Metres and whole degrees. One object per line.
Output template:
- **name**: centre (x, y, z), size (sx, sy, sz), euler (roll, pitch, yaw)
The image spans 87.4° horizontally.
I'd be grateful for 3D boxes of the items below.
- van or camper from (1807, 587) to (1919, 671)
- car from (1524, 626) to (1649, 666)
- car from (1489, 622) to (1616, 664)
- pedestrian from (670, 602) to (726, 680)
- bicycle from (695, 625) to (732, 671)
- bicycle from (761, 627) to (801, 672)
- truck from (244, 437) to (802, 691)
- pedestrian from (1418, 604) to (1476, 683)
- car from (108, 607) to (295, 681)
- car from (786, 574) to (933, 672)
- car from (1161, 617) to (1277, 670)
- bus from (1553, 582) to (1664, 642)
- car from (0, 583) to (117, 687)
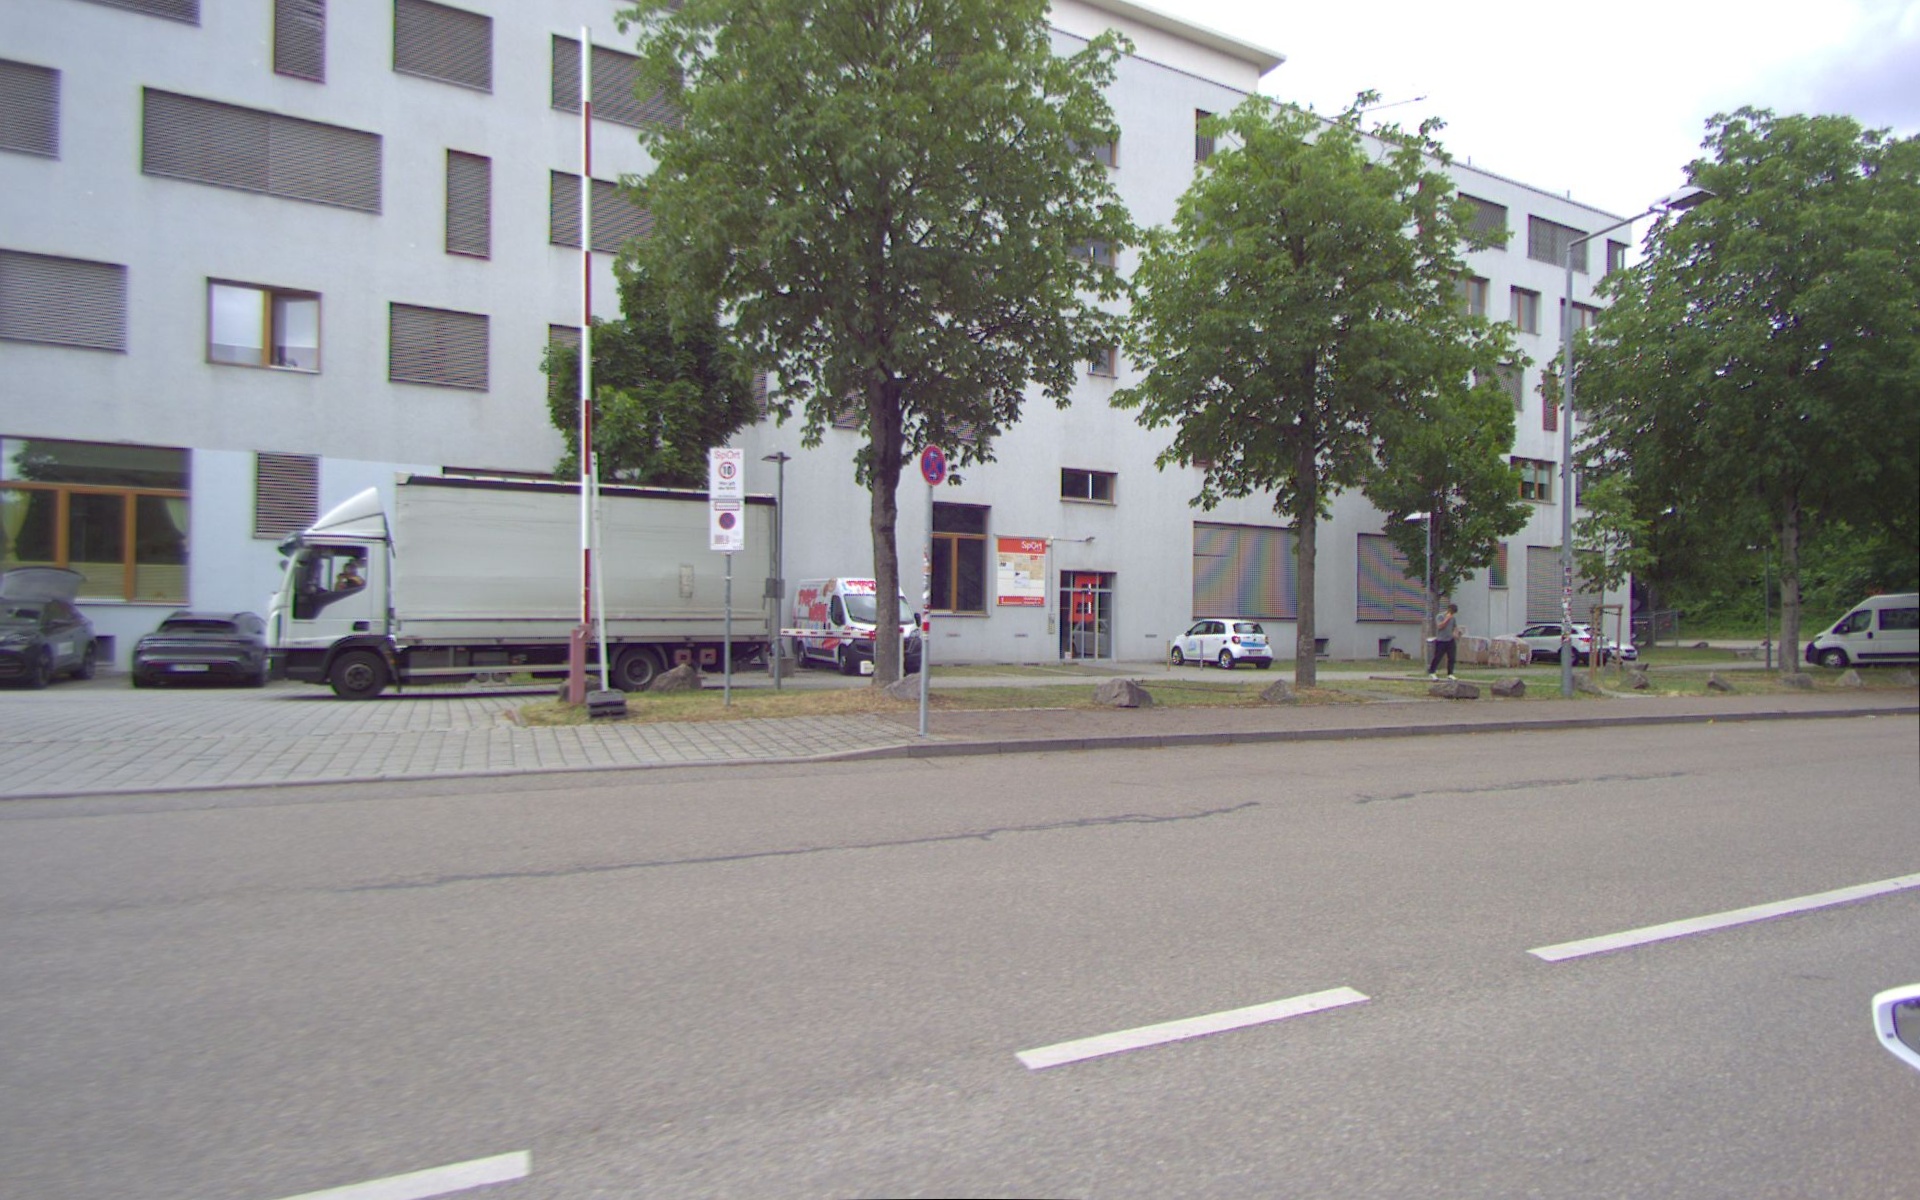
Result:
- **van or camper**: centre (30.584, 0.950, 32.126), size (2.036, 2.604, 4.952), euler (3, -1, -27)
- **car**: centre (25.860, 1.873, 41.561), size (1.878, 1.475, 3.979), euler (3, -1, -30)
- **car**: centre (23.705, 1.710, 40.306), size (1.878, 1.475, 3.979), euler (3, -1, -30)
- **pedestrian**: centre (-5.630, 0.874, 21.596), size (0.670, 1.627, 0.882), euler (1, -1, 45)
- **bicycle**: centre (-6.387, 1.221, 25.994), size (0.605, 1.084, 2.021), euler (2, -1, -22)
- **bicycle**: centre (-4.738, 1.293, 26.474), size (0.605, 1.084, 2.021), euler (2, -1, -22)
- **truck**: centre (-7.190, -0.339, 17.576), size (8.263, 3.648, 2.665), euler (3, -1, -29)
- **pedestrian**: centre (10.822, 0.958, 22.333), size (0.778, 1.694, 0.839), euler (2, -1, -31)
- **car**: centre (-14.935, 0.814, 20.126), size (2.157, 1.261, 5.116), euler (3, -1, -28)
- **car**: centre (-2.826, 0.588, 26.705), size (2.051, 2.309, 5.608), euler (2, -1, -25)
- **car**: centre (8.297, 1.373, 32.425), size (1.670, 1.520, 3.600), euler (3, -1, -26)
- **bus**: centre (45.609, 0.835, 70.815), size (2.319, 4.010, 6.199), euler (2, -1, -25)
- **car**: centre (-17.519, 0.555, 18.514), size (2.074, 1.715, 5.294), euler (3, -1, -30)
